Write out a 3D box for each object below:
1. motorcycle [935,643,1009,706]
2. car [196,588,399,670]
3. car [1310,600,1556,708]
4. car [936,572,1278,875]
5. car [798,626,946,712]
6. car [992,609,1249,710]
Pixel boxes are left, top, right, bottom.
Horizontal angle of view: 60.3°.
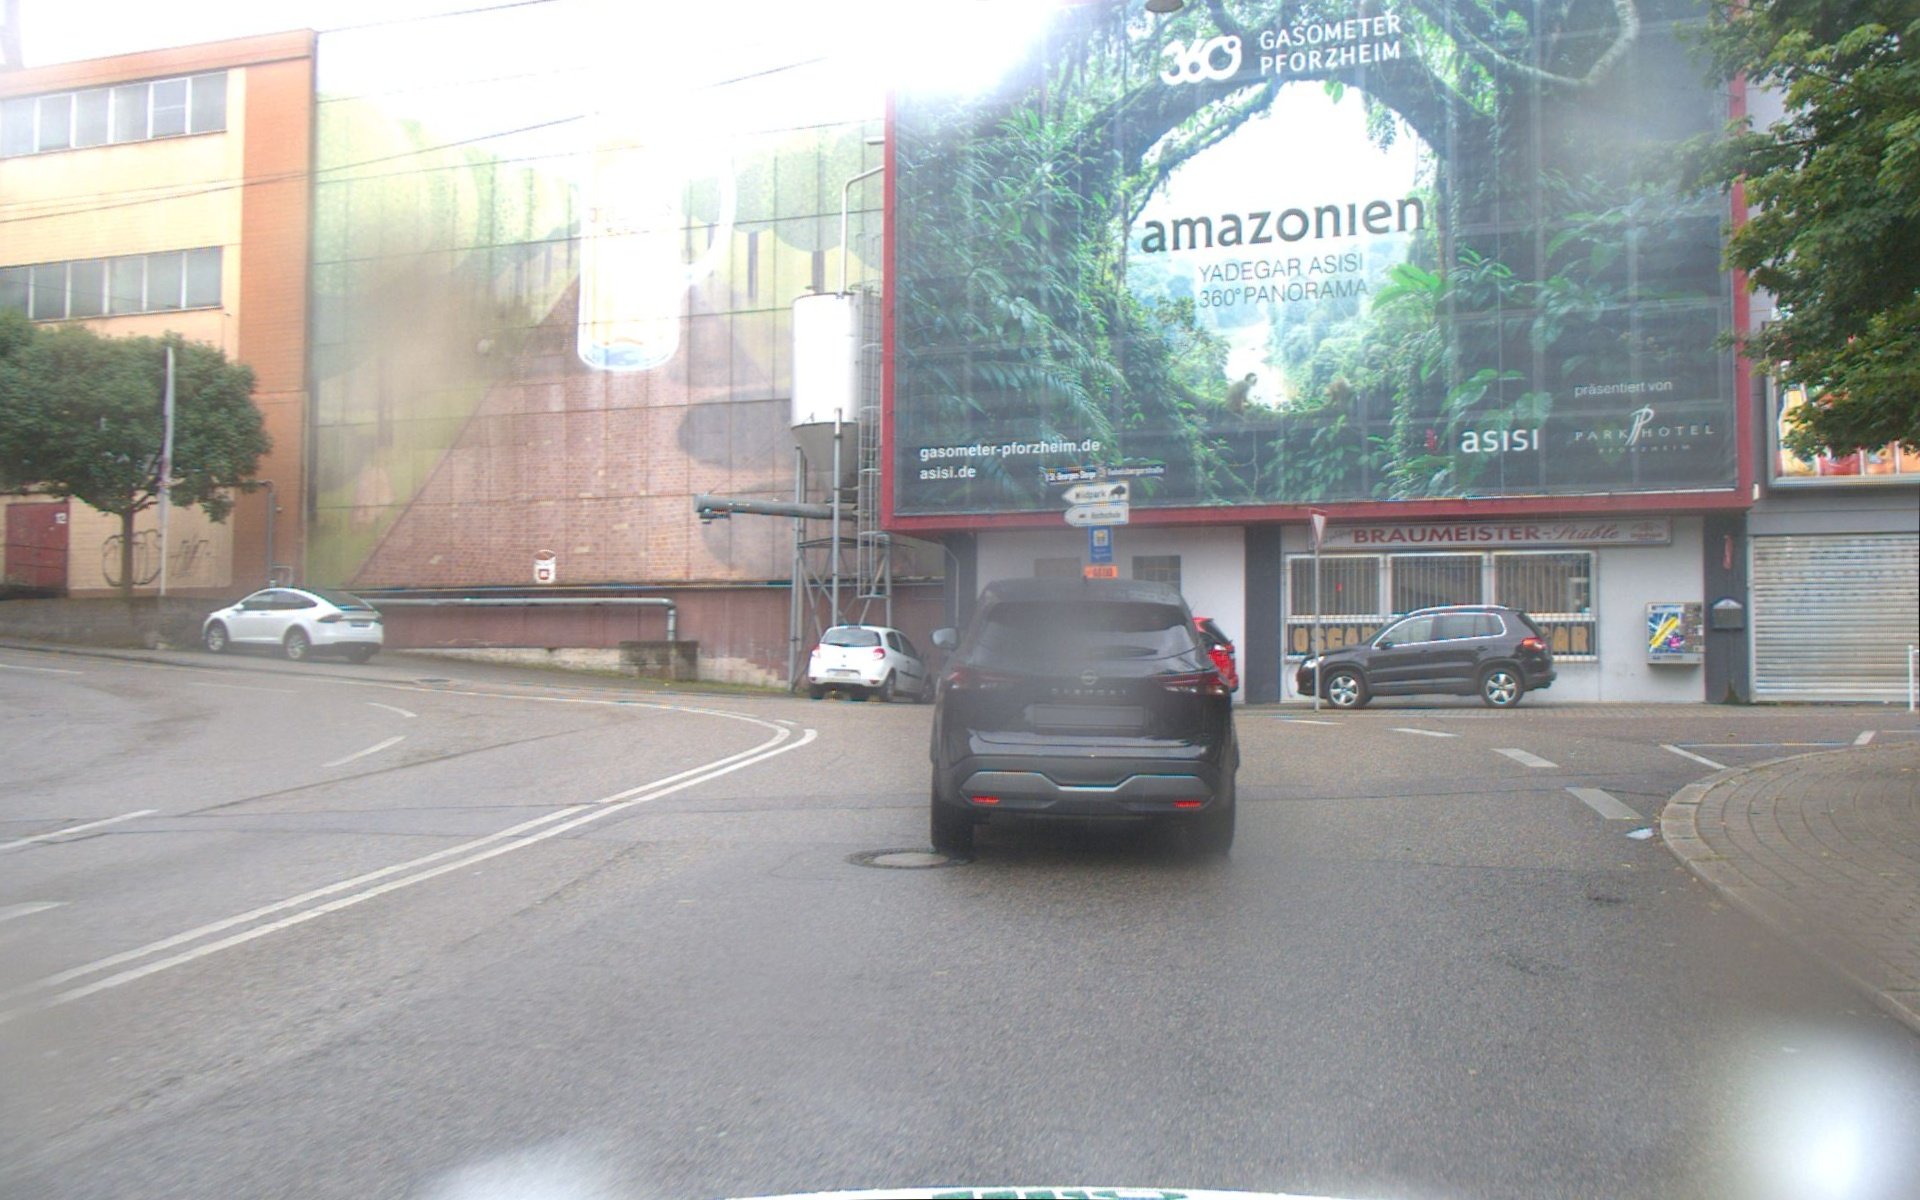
[{"bbox_3d":[0.236,1.449,32.196,1.388,1.181,0.452,1,-3,7],"label":"motorcycle"},{"bbox_3d":[-15.985,0.688,39.837,4.808,1.645,1.855,3,-1,29],"label":"car"},{"bbox_3d":[8.122,0.933,28.366,3.904,1.741,1.933,-2,-2,20],"label":"car"},{"bbox_3d":[0.883,0.632,10.925,1.842,1.621,3.923,0,1,3],"label":"car"},{"bbox_3d":[-1.726,1.353,33.856,1.830,1.560,3.995,0,0,16],"label":"car"},{"bbox_3d":[2.989,1.079,30.632,4.384,1.742,1.933,0,-2,20],"label":"car"}]
